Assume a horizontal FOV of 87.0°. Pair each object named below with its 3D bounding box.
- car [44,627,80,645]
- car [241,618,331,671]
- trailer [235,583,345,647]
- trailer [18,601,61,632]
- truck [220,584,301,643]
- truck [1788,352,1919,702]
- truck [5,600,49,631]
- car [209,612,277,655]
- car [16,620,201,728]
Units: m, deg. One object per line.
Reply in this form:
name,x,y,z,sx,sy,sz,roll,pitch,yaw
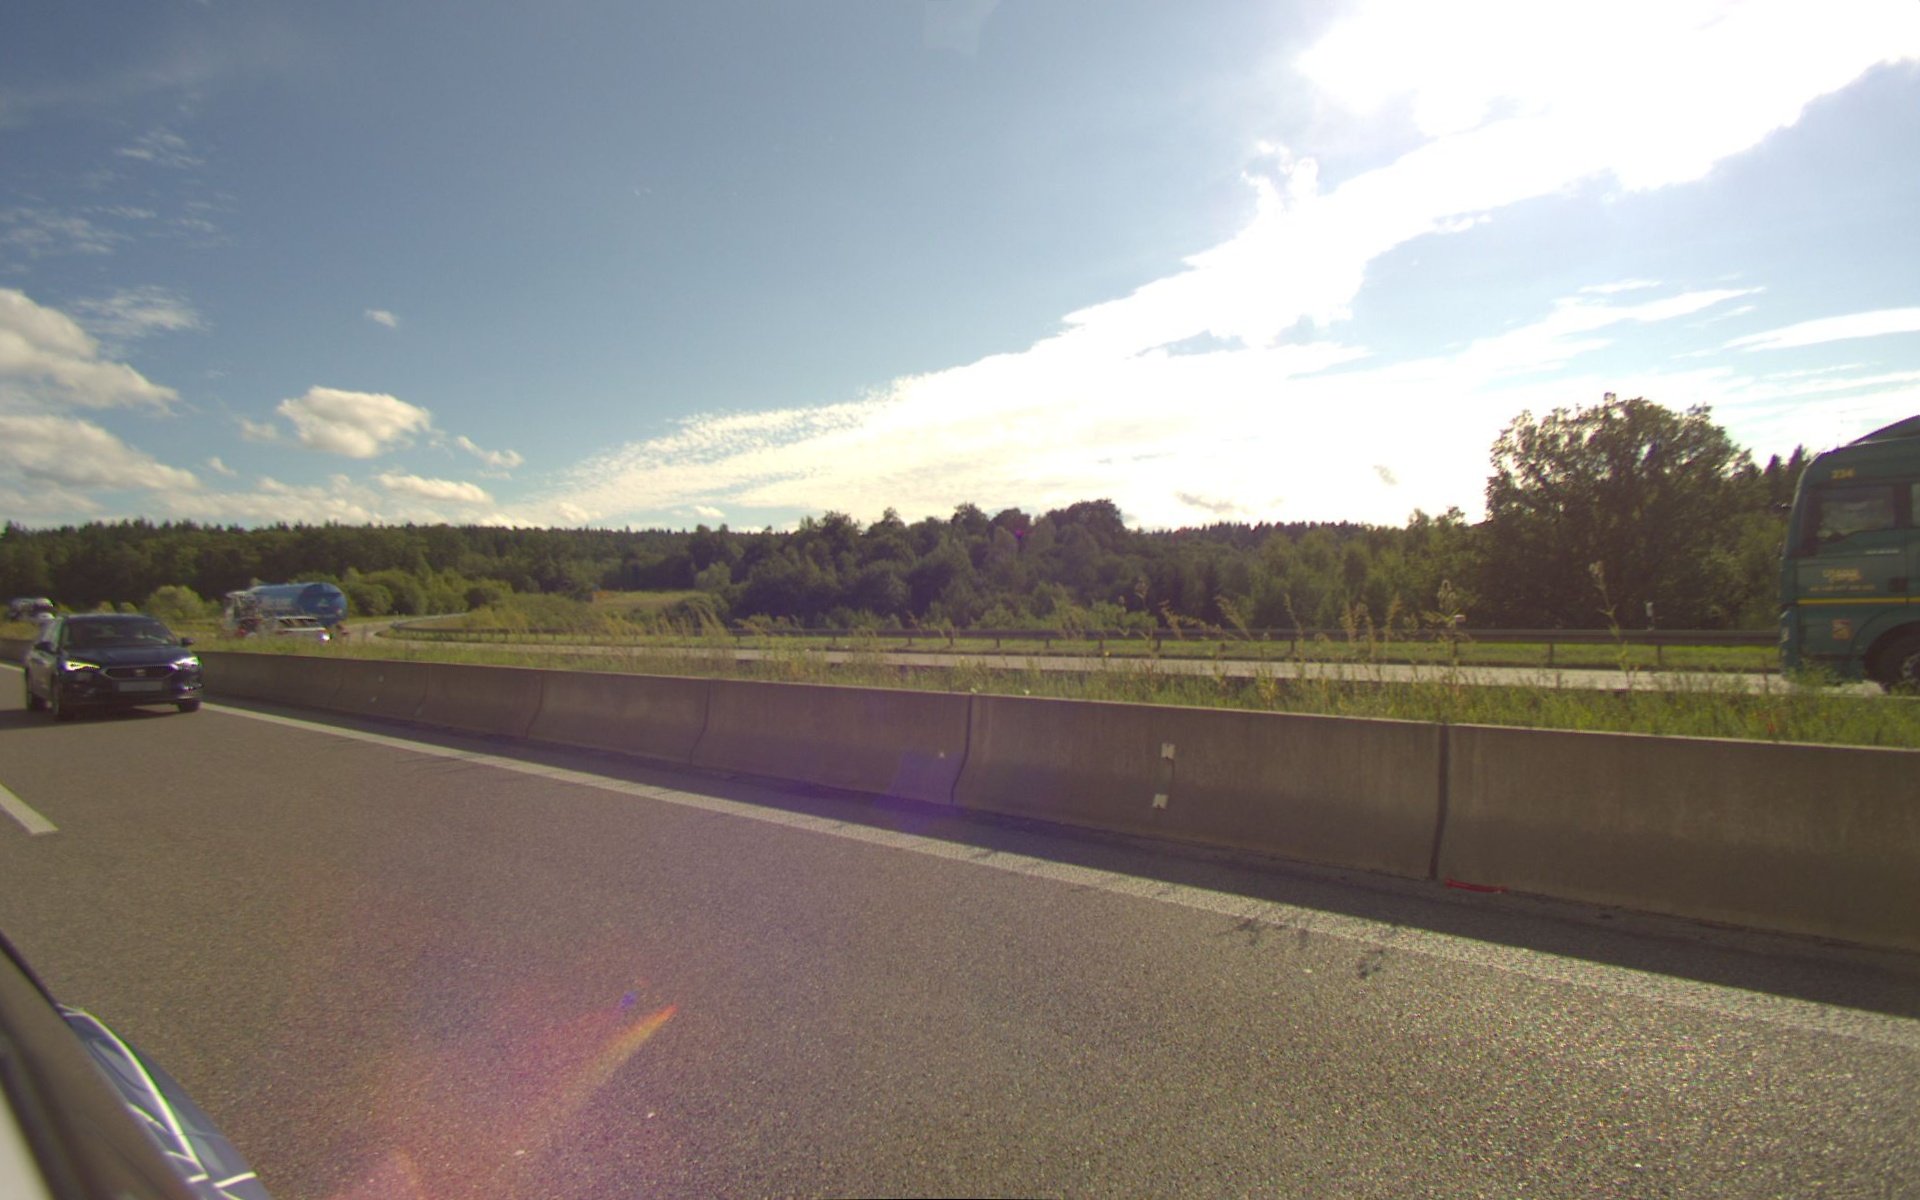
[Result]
car,-72.415,2.907,81.607,3.706,1.291,1.673,-1,2,41
car,-23.777,1.529,35.679,3.765,1.636,1.654,-1,2,41
trailer,-38.022,0.896,57.207,10.867,3.309,2.298,-2,-1,40
trailer,-108.712,1.908,119.468,8.949,3.555,2.770,-1,-1,41
truck,-41.775,0.798,60.387,6.100,3.298,2.294,-1,2,40
truck,15.596,-0.953,10.846,10.336,4.276,2.683,-1,-1,40
truck,-116.311,1.991,126.092,11.126,3.717,2.802,-1,-1,41
car,-35.008,1.592,49.368,3.998,1.895,1.742,-1,2,41
car,-14.134,1.113,16.714,4.157,1.554,1.756,-1,-1,42
